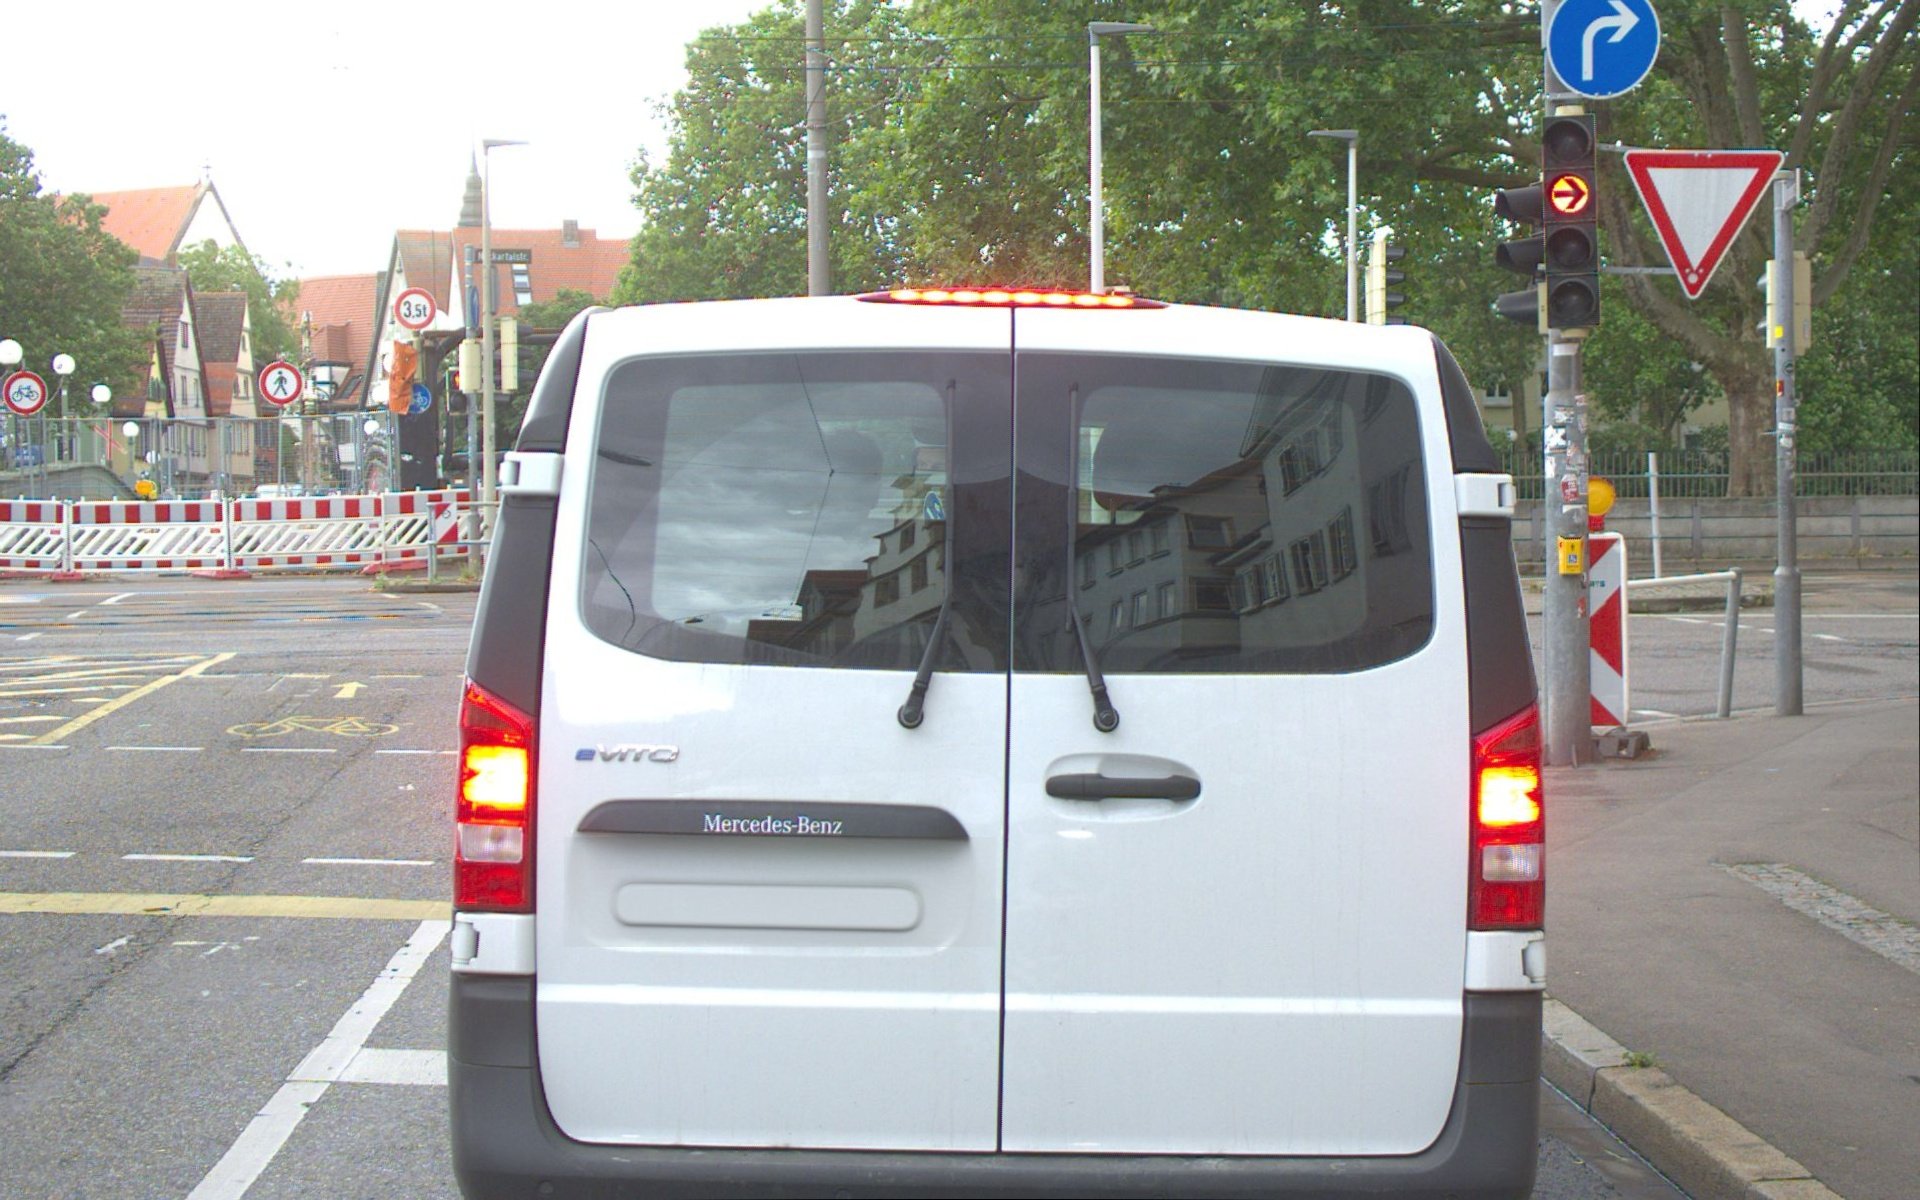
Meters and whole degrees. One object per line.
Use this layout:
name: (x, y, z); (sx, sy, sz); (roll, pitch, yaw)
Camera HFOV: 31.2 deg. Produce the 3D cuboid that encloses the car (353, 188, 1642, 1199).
car: (0.025, 0.291, 7.619); (1.951, 2.006, 4.699); (1, 2, -1)
